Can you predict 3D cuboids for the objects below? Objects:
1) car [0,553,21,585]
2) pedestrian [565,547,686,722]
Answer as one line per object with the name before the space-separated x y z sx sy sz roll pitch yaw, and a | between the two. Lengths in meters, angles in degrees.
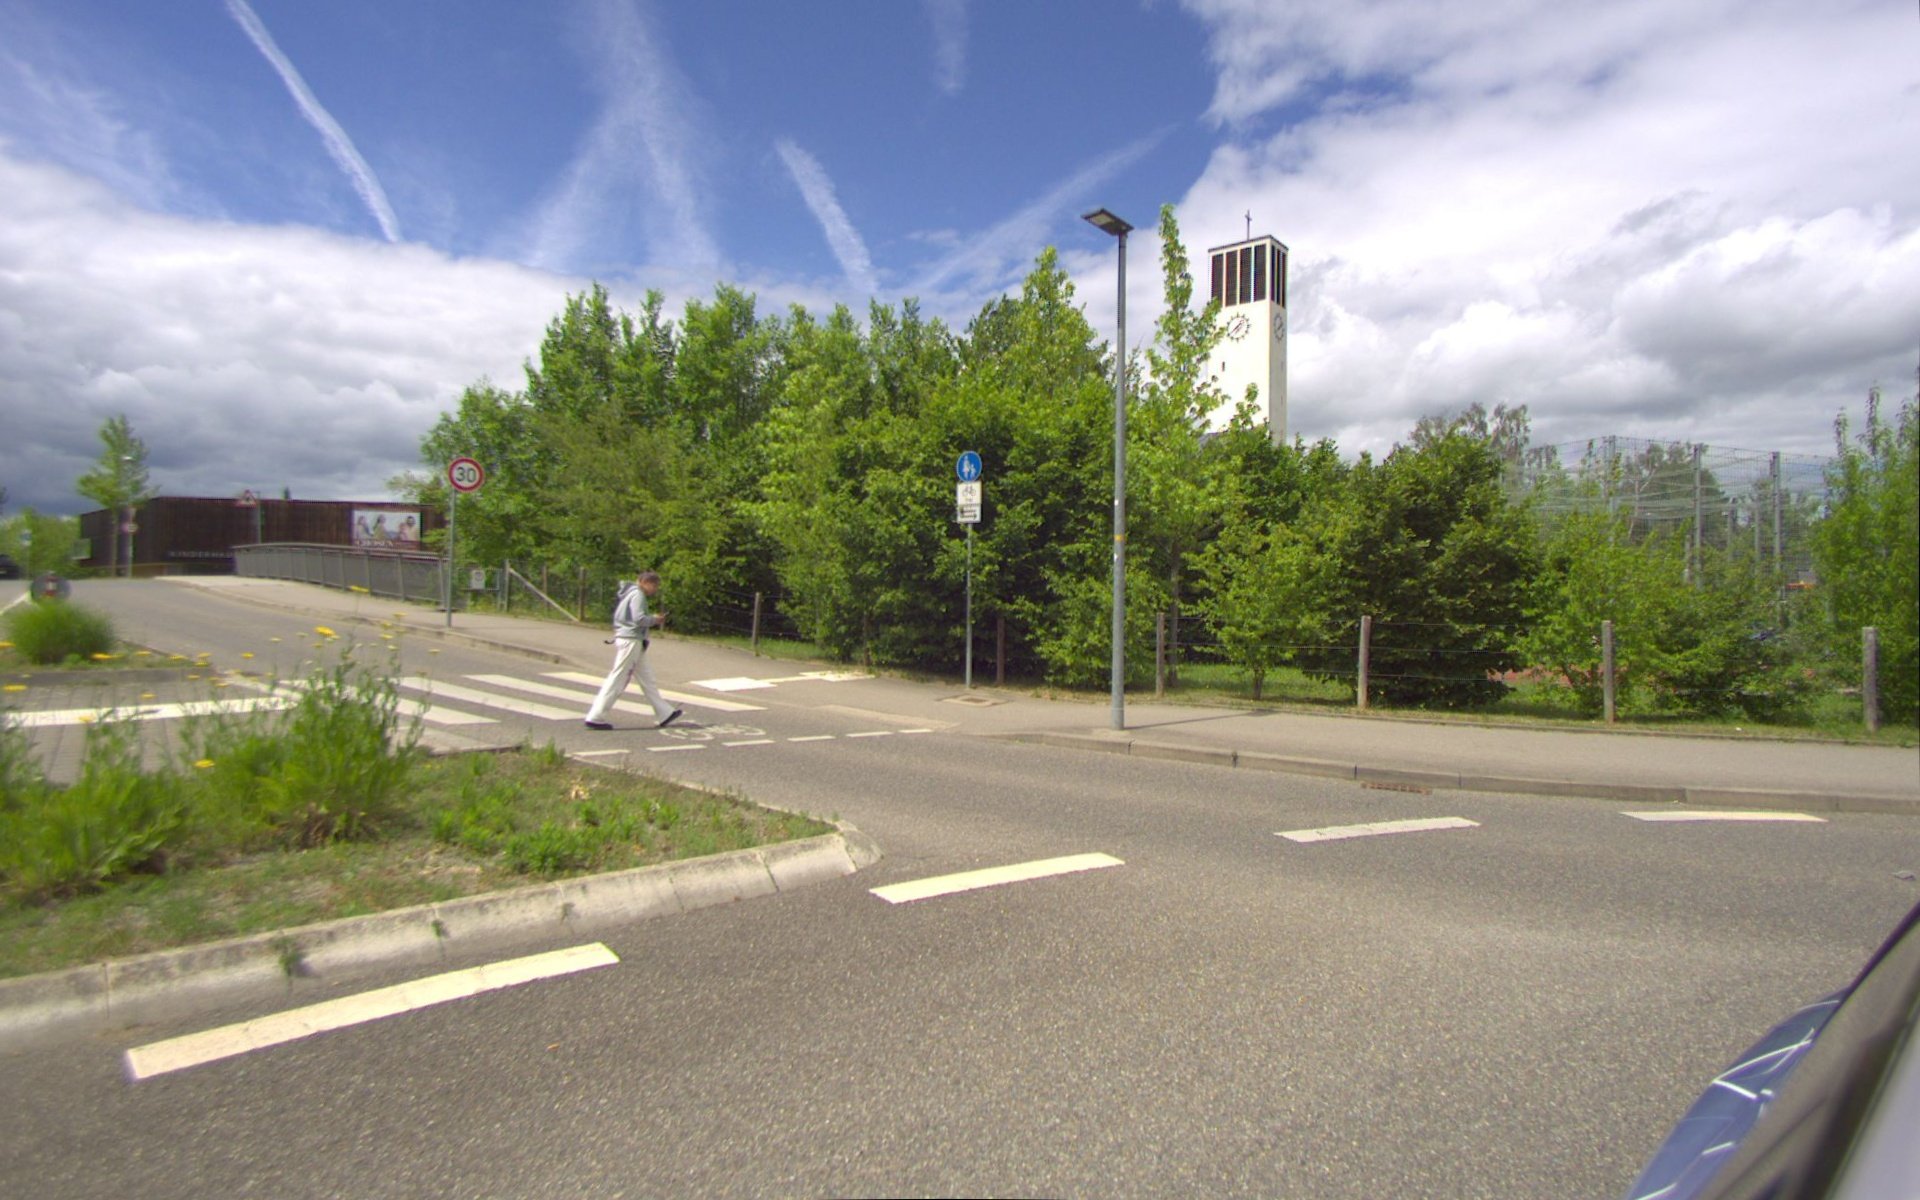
car | -50.228 -1.599 52.178 3.974 1.471 1.888 -1 -2 36
pedestrian | -3.146 0.316 9.617 1.015 1.561 0.896 0 -2 -13
